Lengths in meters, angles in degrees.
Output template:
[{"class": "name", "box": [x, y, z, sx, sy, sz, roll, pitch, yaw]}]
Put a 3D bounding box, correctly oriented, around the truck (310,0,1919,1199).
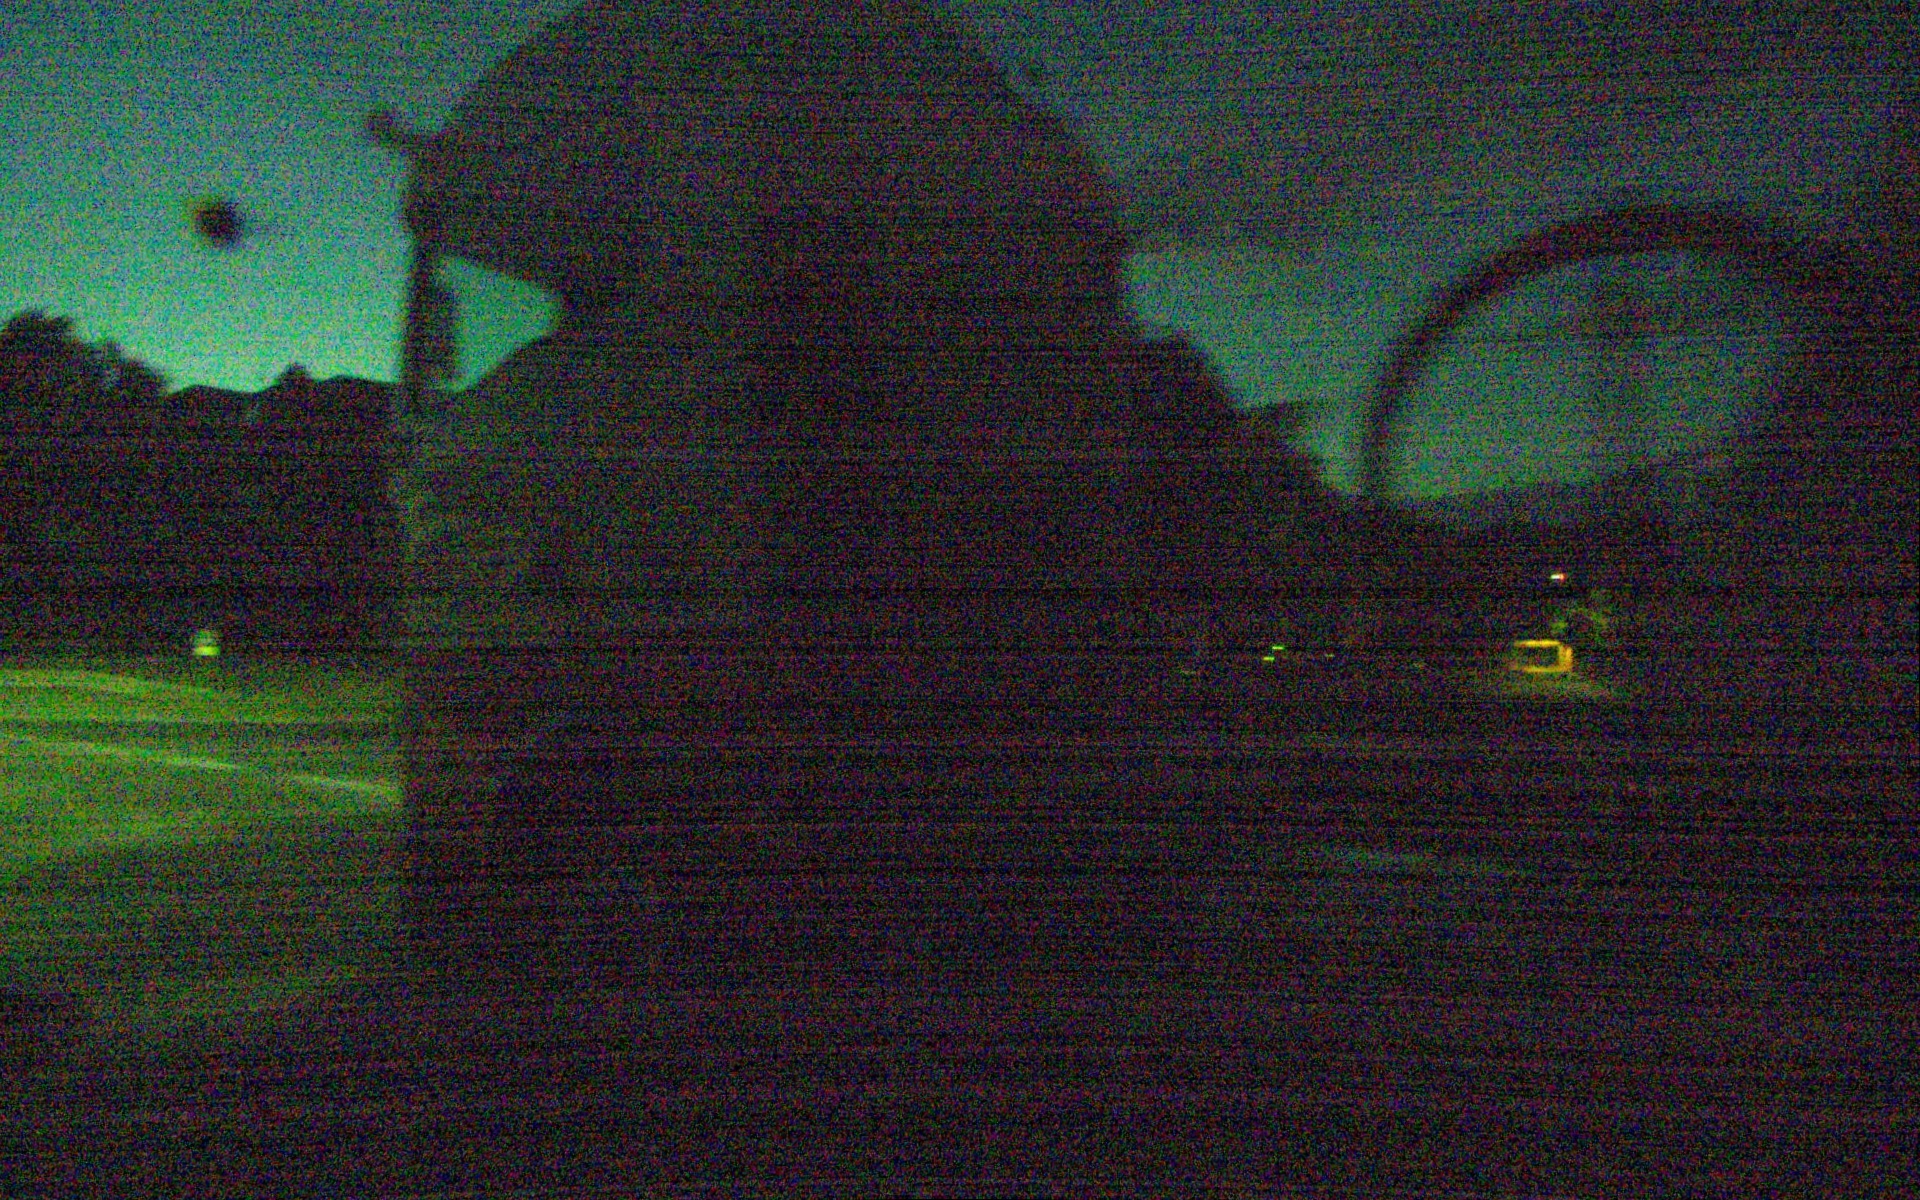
[{"class": "truck", "box": [3.716, -0.570, 1.486, 12.954, 4.159, 2.683, -2, -2, 32]}]
